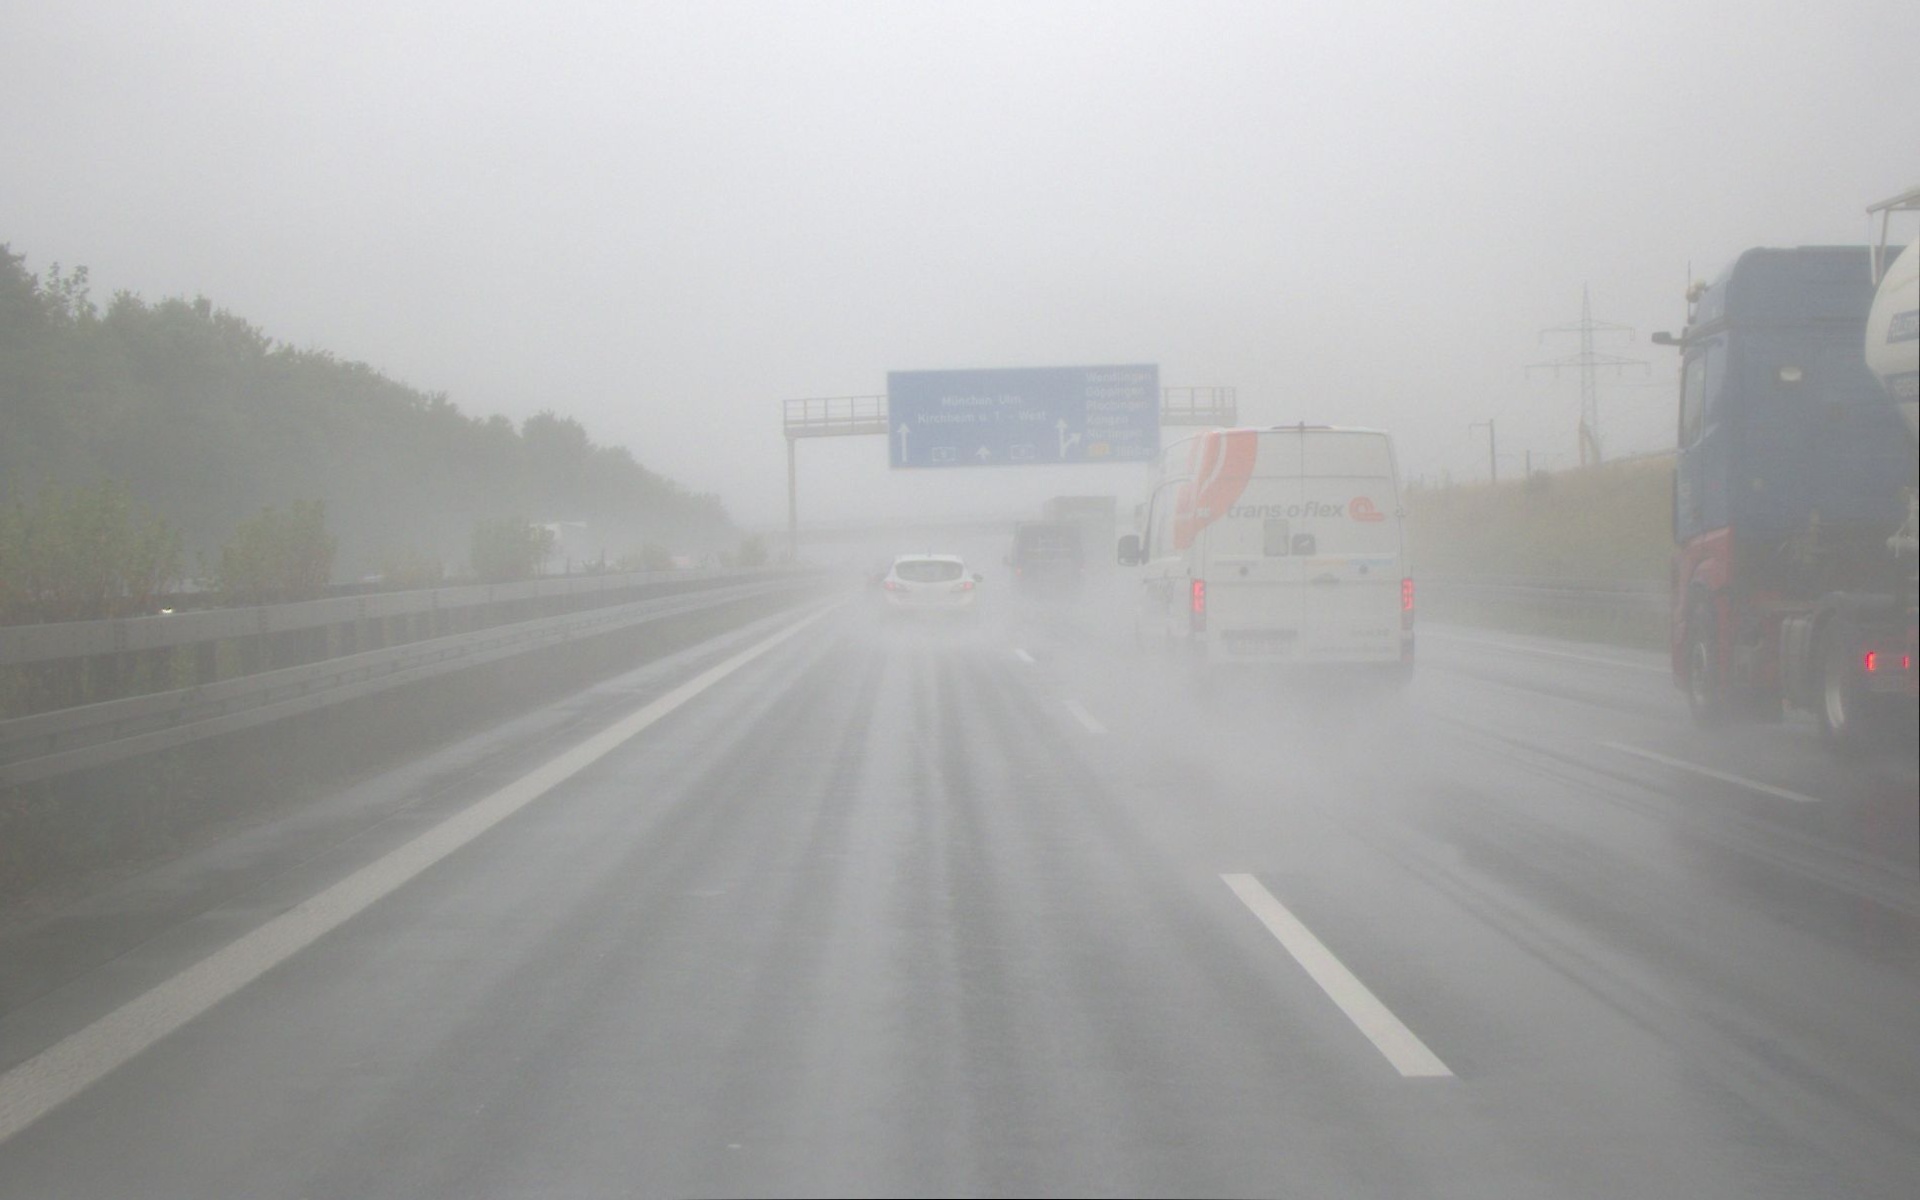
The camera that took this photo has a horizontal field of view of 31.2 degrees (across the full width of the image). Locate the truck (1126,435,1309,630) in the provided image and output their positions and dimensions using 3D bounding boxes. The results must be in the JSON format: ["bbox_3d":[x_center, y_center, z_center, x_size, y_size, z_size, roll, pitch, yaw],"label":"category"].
[{"bbox_3d":[6.465,-1.657,89.226,3.039,4.572,16.352,0,1,-2],"label":"truck"}]

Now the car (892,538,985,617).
[{"bbox_3d":[-0.400,-0.429,61.879,1.605,1.333,3.849,0,1,-1],"label":"car"}]

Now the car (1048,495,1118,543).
[{"bbox_3d":[5.293,-3.512,148.770,2.788,2.007,4.993,0,1,-1],"label":"car"}]

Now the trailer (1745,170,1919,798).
[{"bbox_3d":[7.191,-0.674,19.851,2.497,3.869,11.068,0,1,-1],"label":"trailer"}]

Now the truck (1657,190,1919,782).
[{"bbox_3d":[7.048,-0.820,25.683,2.496,3.970,5.076,0,1,-1],"label":"truck"}]

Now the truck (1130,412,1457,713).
[{"bbox_3d":[2.908,-0.380,31.361,2.419,2.484,5.560,0,1,0],"label":"truck"}]
